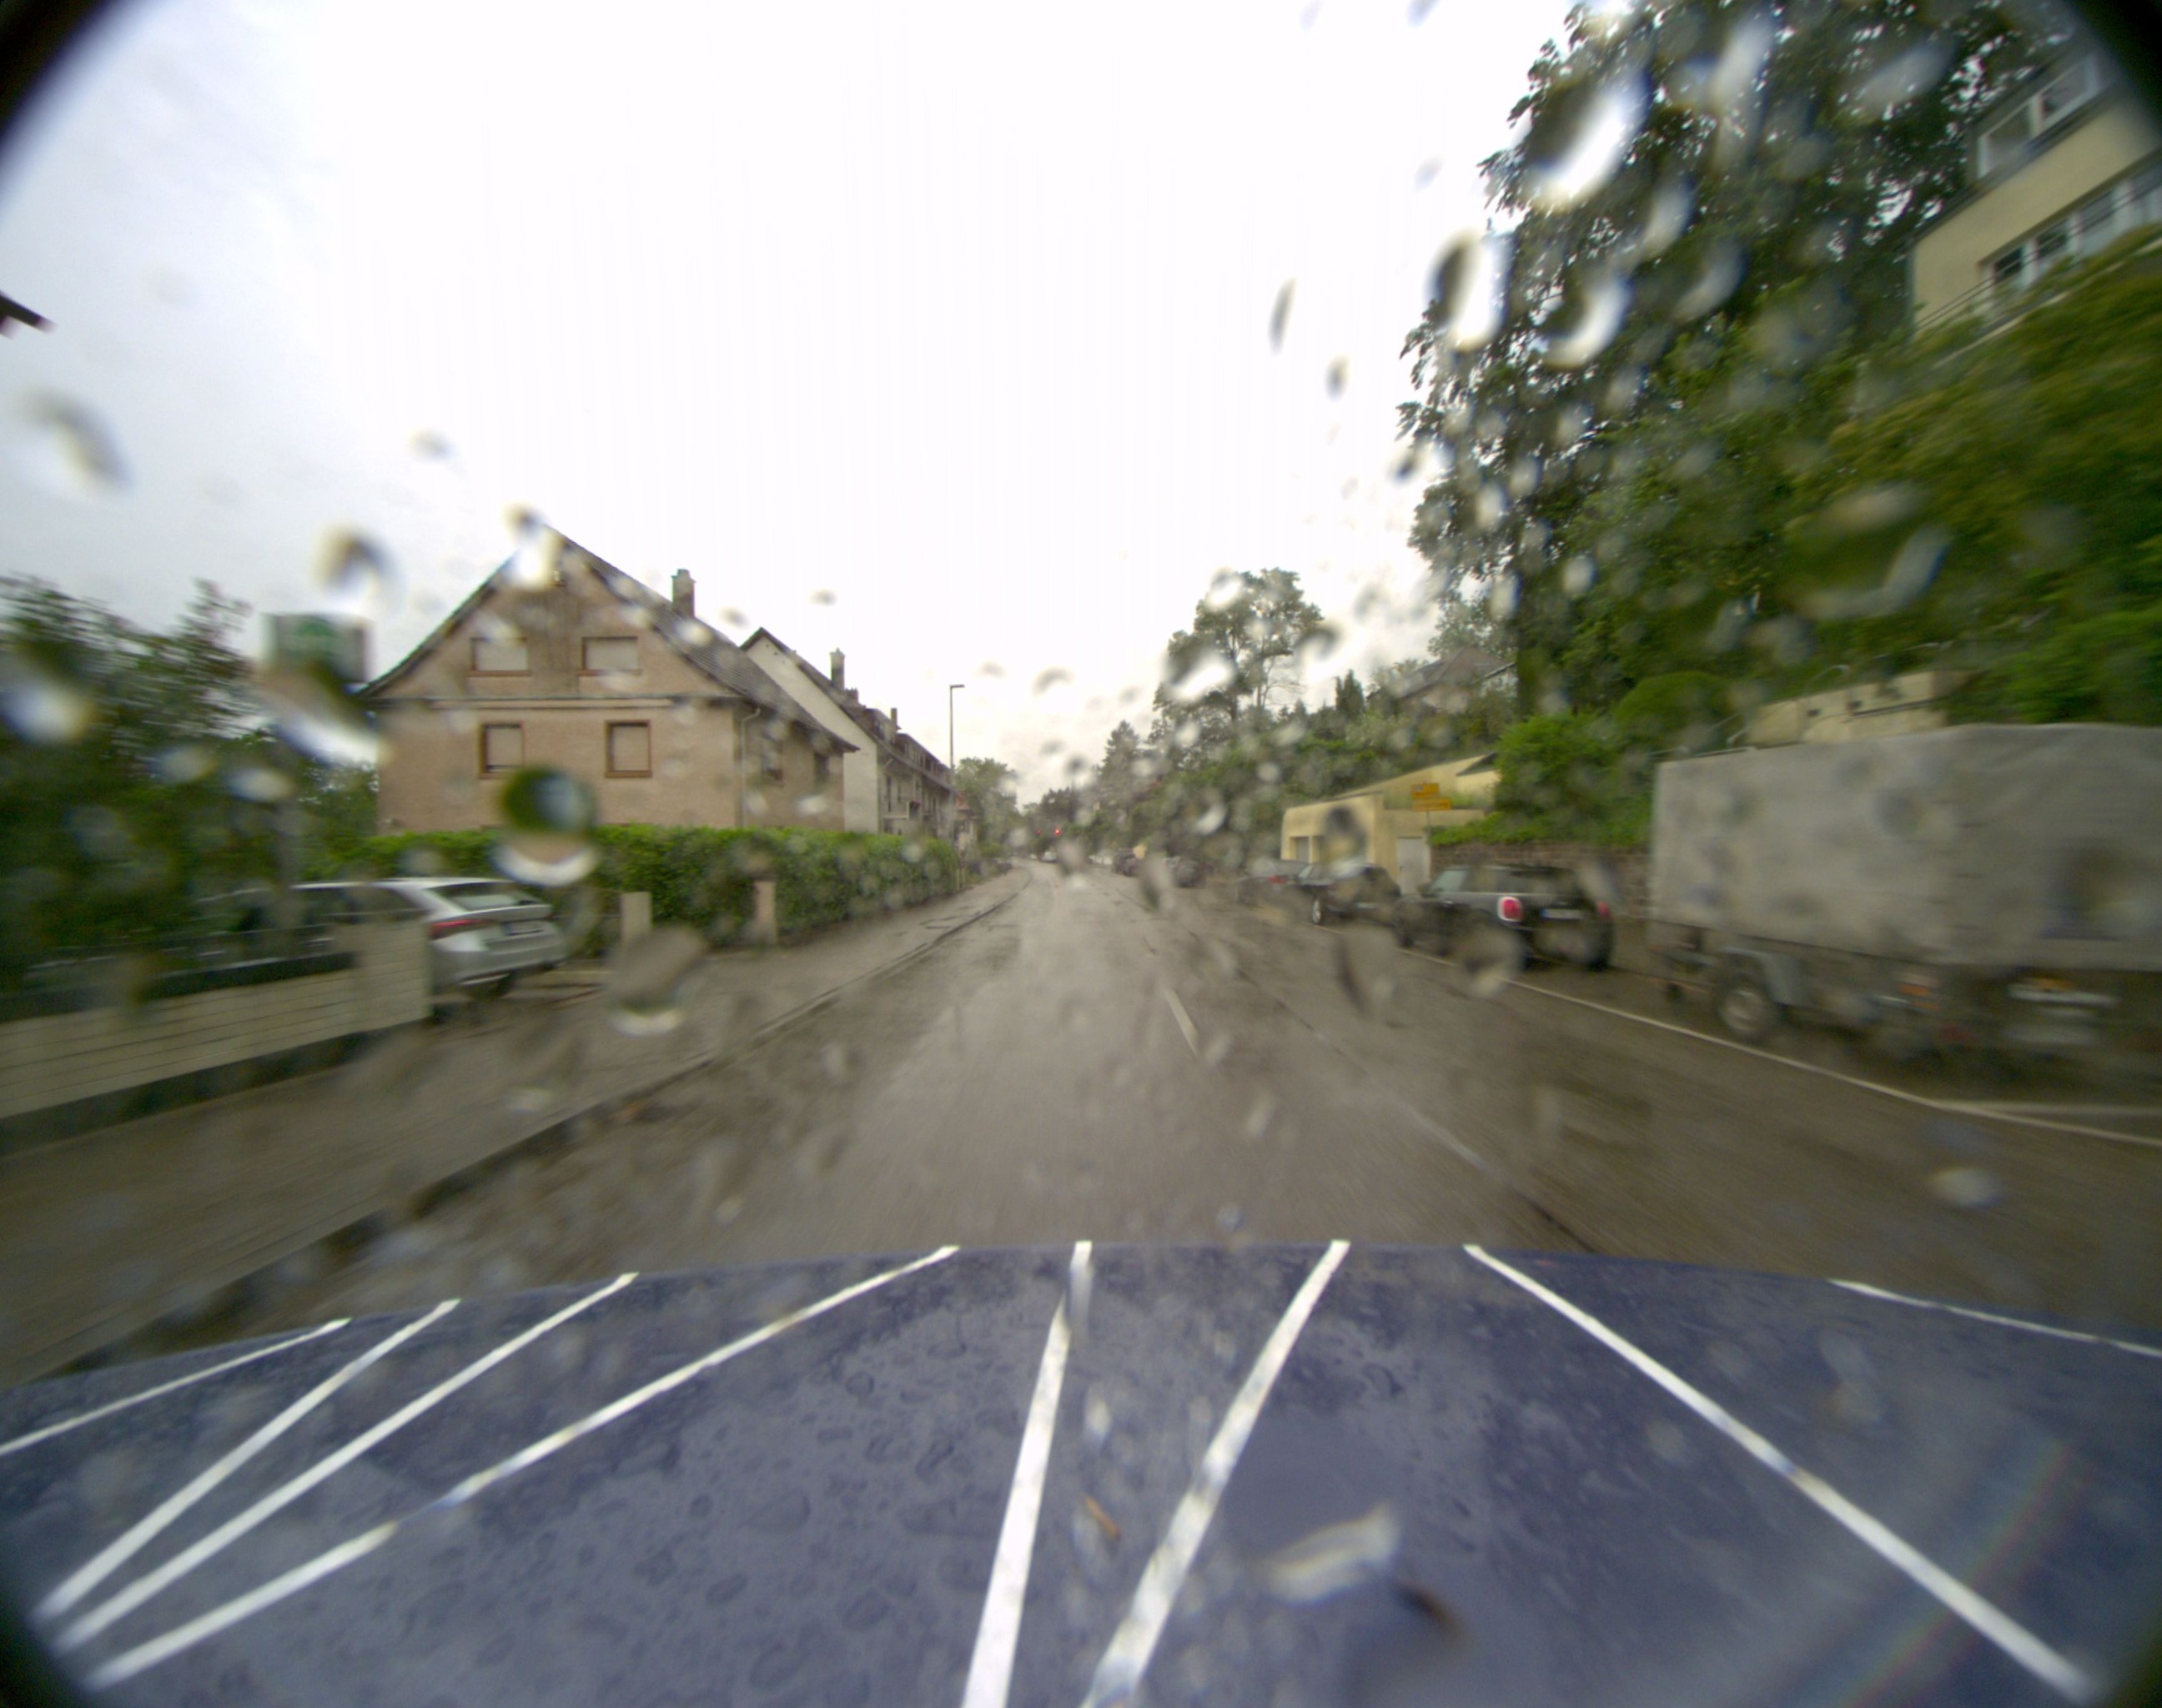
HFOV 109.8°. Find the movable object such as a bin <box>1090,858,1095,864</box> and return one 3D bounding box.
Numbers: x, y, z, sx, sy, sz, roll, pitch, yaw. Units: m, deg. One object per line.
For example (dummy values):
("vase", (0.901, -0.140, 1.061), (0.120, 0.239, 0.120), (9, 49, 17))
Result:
("movable object such as a bin", (2.002, 1.195, 132.722), (0.683, 1.034, 0.656), (-2, 1, -8))

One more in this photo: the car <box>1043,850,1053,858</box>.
("car", (-8.272, 0.072, 190.689), (2.164, 1.944, 4.912), (2, 0, -8))

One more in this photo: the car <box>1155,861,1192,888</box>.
("car", (5.699, 1.252, 47.253), (1.746, 1.552, 4.108), (1, 0, -1))

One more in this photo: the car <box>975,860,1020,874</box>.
("car", (-8.693, 1.365, 78.949), (4.371, 1.356, 1.923), (-1, 2, 29))

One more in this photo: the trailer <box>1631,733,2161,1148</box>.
("trailer", (6.142, 0.508, 5.921), (1.540, 2.385, 3.073), (1, 0, 3))

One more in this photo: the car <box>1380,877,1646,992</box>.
("car", (6.150, 1.063, 11.399), (1.813, 1.341, 3.776), (0, 0, -1))

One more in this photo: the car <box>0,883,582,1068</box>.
("car", (-7.879, 1.147, 7.850), (4.232, 1.437, 1.702), (-3, 0, -1))

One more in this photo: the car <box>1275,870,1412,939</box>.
("car", (6.130, 1.110, 18.263), (1.790, 1.407, 4.217), (0, 0, -1))

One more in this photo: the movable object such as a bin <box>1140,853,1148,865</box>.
("movable object such as a bin", (7.331, 0.554, 88.302), (0.822, 1.307, 1.402), (-2, 0, -1))

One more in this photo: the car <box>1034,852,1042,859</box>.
("car", (-12.688, 0.410, 223.740), (1.926, 1.747, 3.997), (-2, 1, -7))

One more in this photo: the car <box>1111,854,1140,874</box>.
("car", (4.246, 0.928, 73.424), (2.164, 1.908, 5.321), (0, 0, -3))

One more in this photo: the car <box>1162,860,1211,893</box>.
("car", (5.749, 1.194, 41.937), (1.879, 1.616, 4.592), (2, 0, -2))

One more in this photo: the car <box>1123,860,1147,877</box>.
("car", (4.789, 1.290, 68.157), (1.569, 1.357, 3.905), (1, 0, -5))

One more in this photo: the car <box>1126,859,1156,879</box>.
("car", (4.886, 1.213, 62.722), (1.913, 1.472, 4.754), (2, 0, -2))

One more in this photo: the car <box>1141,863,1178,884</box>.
("car", (5.308, 1.278, 51.842), (1.721, 1.357, 4.082), (1, -1, -5))

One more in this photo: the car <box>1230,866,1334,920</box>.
("car", (6.107, 1.136, 23.676), (1.790, 1.446, 4.754), (1, 0, -2))

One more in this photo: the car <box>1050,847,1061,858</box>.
("car", (-5.822, -0.261, 173.142), (2.086, 2.464, 4.850), (2, 0, -8))
